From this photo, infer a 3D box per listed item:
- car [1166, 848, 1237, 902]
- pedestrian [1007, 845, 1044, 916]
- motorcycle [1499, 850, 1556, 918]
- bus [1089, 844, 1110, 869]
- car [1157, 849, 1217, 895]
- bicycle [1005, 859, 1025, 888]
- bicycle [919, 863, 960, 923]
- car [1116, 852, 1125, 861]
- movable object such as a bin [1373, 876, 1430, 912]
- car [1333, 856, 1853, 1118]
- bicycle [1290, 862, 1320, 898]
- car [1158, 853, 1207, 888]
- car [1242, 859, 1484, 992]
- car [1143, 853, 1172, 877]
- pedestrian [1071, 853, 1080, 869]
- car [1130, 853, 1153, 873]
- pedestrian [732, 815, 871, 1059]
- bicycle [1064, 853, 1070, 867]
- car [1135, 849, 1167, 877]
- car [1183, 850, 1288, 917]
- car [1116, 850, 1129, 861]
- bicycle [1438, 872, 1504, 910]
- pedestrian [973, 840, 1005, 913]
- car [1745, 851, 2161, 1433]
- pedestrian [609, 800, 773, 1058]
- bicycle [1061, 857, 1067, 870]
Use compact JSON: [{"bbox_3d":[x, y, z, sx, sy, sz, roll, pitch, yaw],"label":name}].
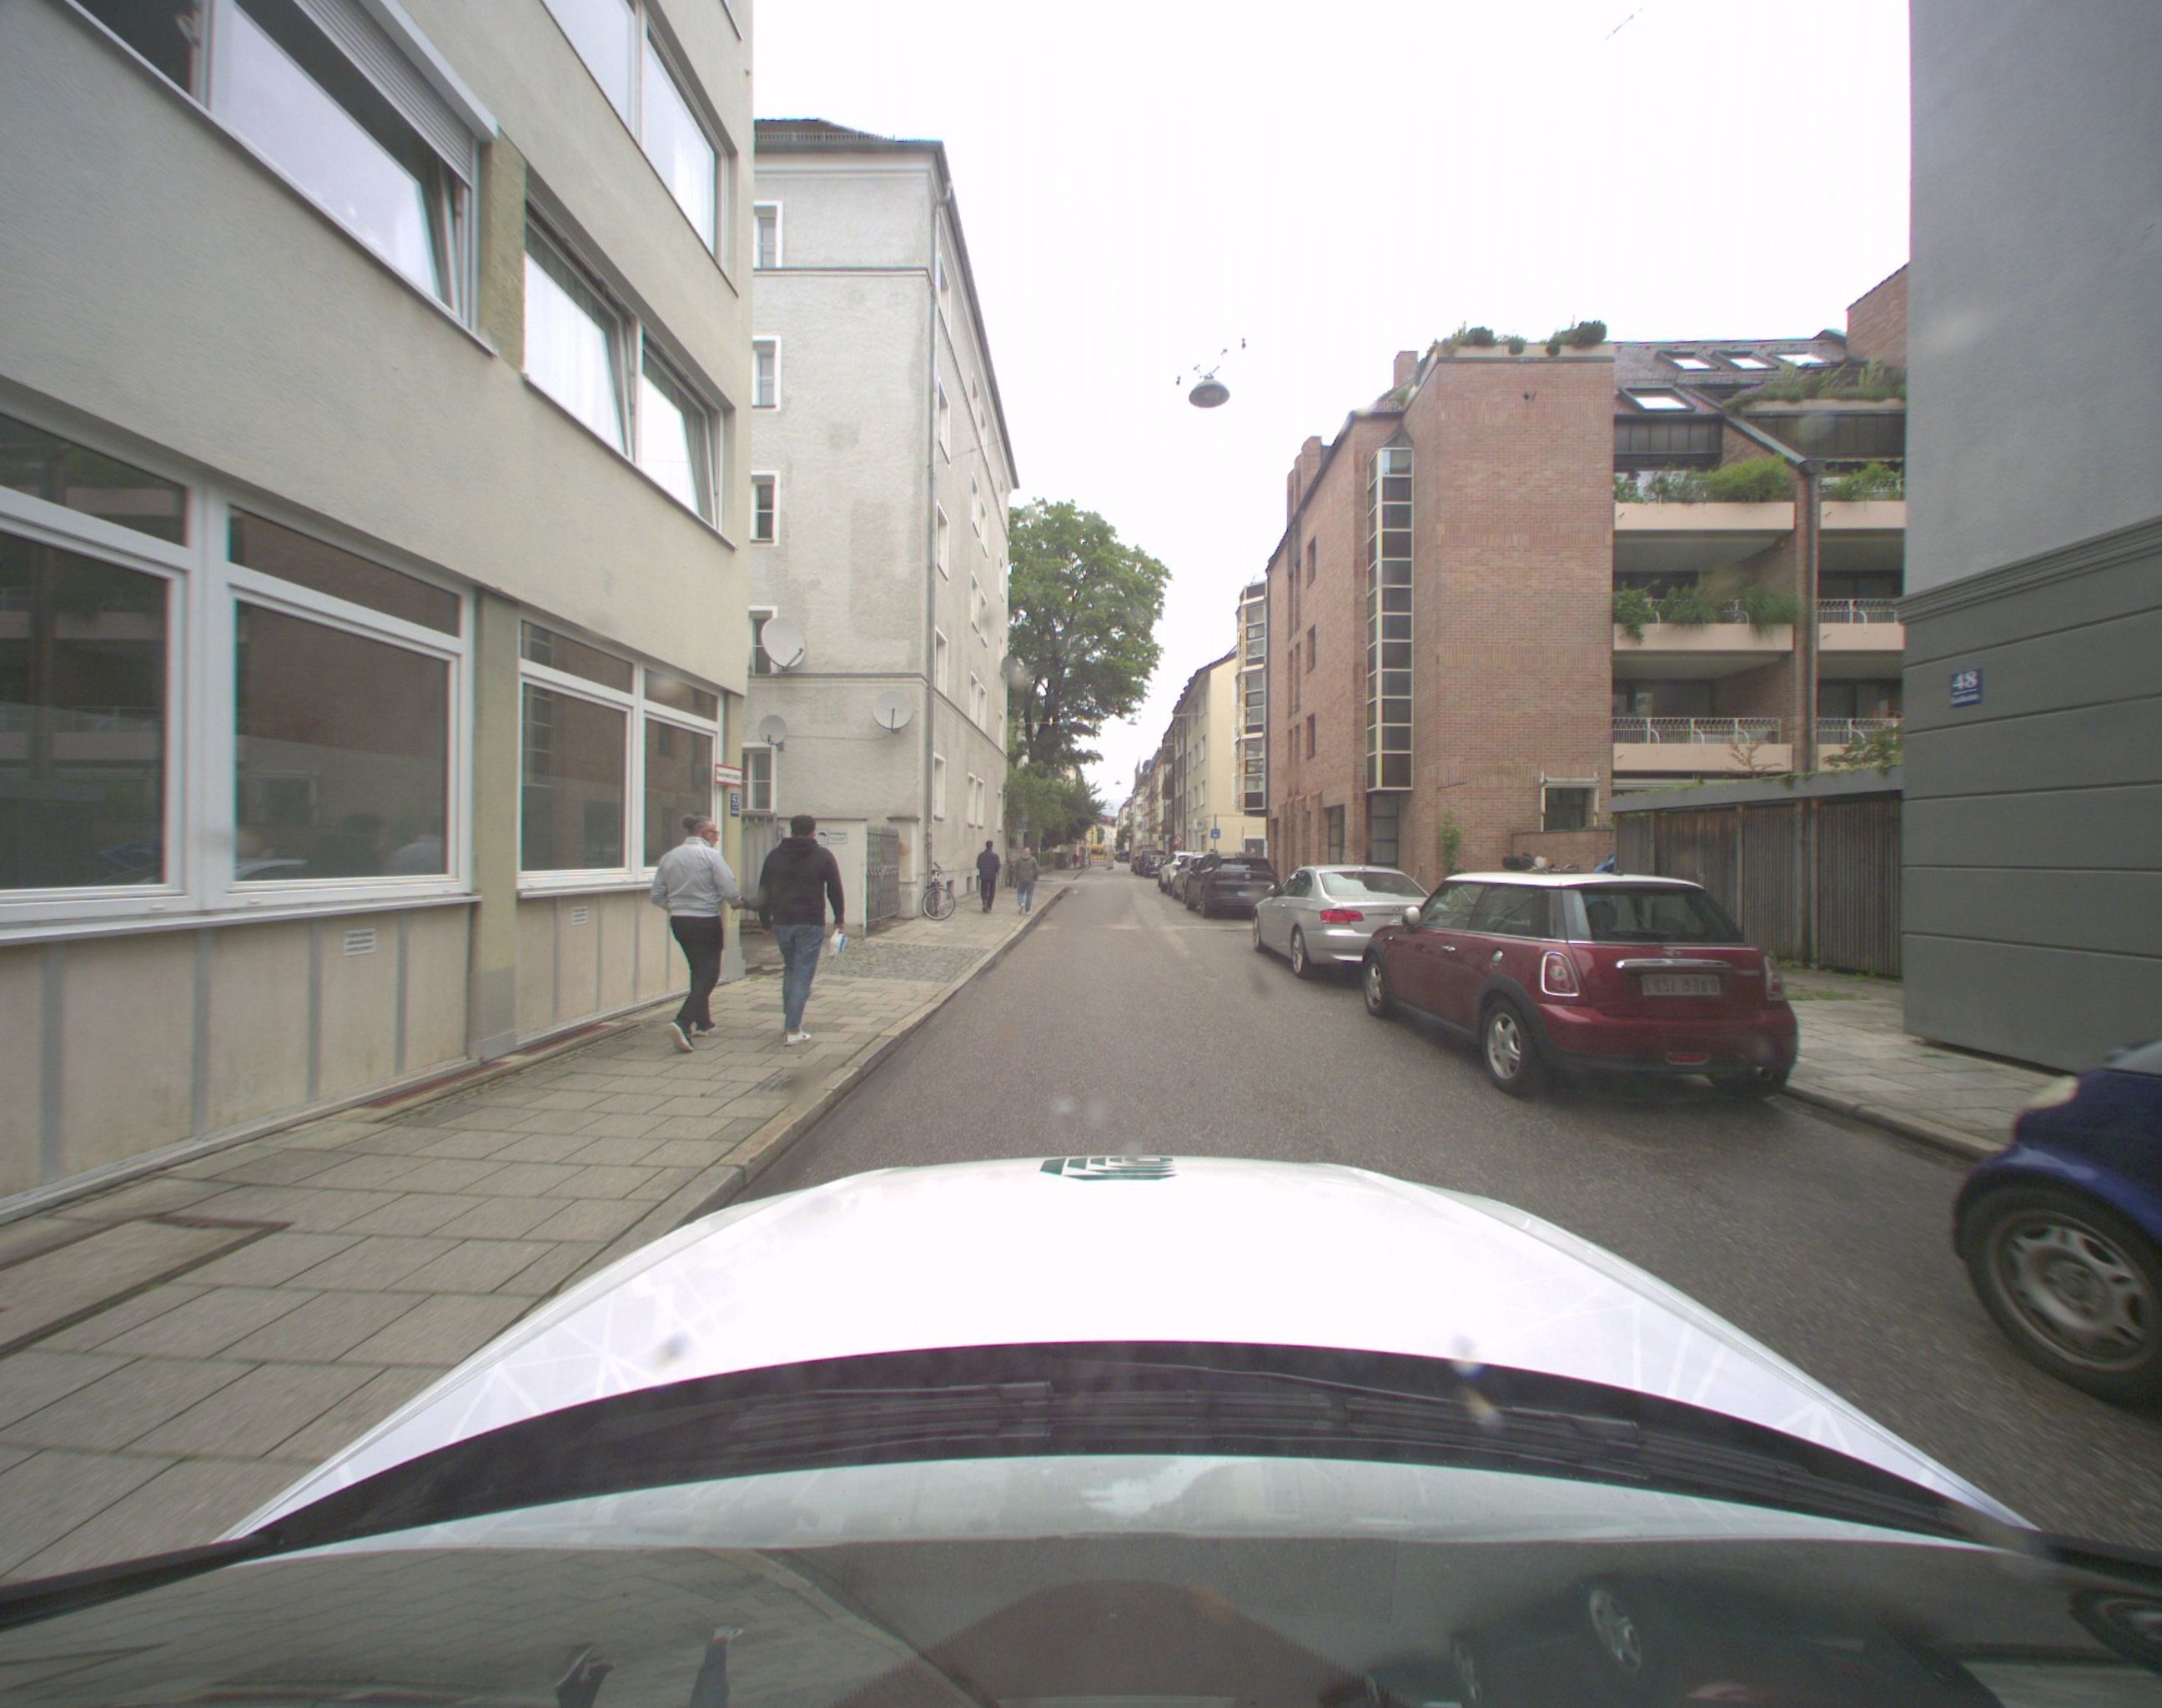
[{"bbox_3d":[3.940,0.670,27.168,1.716,1.635,3.879,-1,0,-2],"label":"car"},{"bbox_3d":[-1.348,0.628,19.877,0.750,1.659,0.907,2,-1,2],"label":"pedestrian"},{"bbox_3d":[9.458,0.611,17.324,0.536,1.345,1.947,-1,-1,13],"label":"motorcycle"},{"bbox_3d":[2.426,0.329,103.491,2.583,3.102,6.308,-1,-1,2],"label":"bus"},{"bbox_3d":[4.020,0.641,31.494,1.743,1.630,4.195,0,0,-1],"label":"car"},{"bbox_3d":[-2.615,0.753,32.150,0.474,1.111,1.751,1,0,-16],"label":"bicycle"},{"bbox_3d":[-3.062,0.803,17.539,0.643,1.217,1.655,0,-1,-17],"label":"bicycle"},{"bbox_3d":[7.913,0.492,163.750,1.794,1.614,4.002,1,0,2],"label":"car"},{"bbox_3d":[7.810,0.968,19.874,1.082,0.832,0.844,0,0,2],"label":"movable object such as a bin"},{"bbox_3d":[3.570,0.766,6.731,1.739,1.462,4.150,1,0,1],"label":"car"},{"bbox_3d":[6.950,0.800,25.327,0.557,1.079,1.472,0,0,2],"label":"bicycle"},{"bbox_3d":[4.477,0.698,36.471,1.738,1.445,4.000,1,0,0],"label":"car"},{"bbox_3d":[3.584,0.809,11.333,1.830,1.417,4.601,1,0,1],"label":"car"},{"bbox_3d":[4.964,0.699,53.302,1.618,1.487,3.810,1,0,2],"label":"car"},{"bbox_3d":[-0.496,0.683,76.934,0.753,1.491,0.831,-1,-1,2],"label":"pedestrian"},{"bbox_3d":[5.127,0.756,69.550,1.630,1.515,3.830,4,0,1],"label":"car"},{"bbox_3d":[-2.160,0.611,6.392,0.715,1.765,0.838,2,-1,2],"label":"pedestrian"},{"bbox_3d":[-1.458,0.643,84.378,0.512,1.418,1.934,-1,-1,1],"label":"bicycle"},{"bbox_3d":[4.930,0.603,57.666,1.796,1.820,3.999,4,0,-1],"label":"car"},{"bbox_3d":[3.882,0.685,21.181,1.880,1.555,4.390,1,0,0],"label":"car"},{"bbox_3d":[6.926,0.303,135.606,1.795,1.712,3.826,4,0,0],"label":"car"},{"bbox_3d":[8.997,0.855,18.809,1.311,0.859,0.414,-1,-1,2],"label":"bicycle"},{"bbox_3d":[-2.228,0.538,19.751,0.610,1.713,0.823,2,-1,1],"label":"pedestrian"},{"bbox_3d":[3.565,0.755,1.866,1.516,1.511,3.202,1,0,1],"label":"car"},{"bbox_3d":[-2.929,0.528,6.210,0.715,1.796,0.917,2,-1,2],"label":"pedestrian"},{"bbox_3d":[-1.487,0.814,71.566,0.444,1.073,2.467,-1,-1,0],"label":"bicycle"}]
